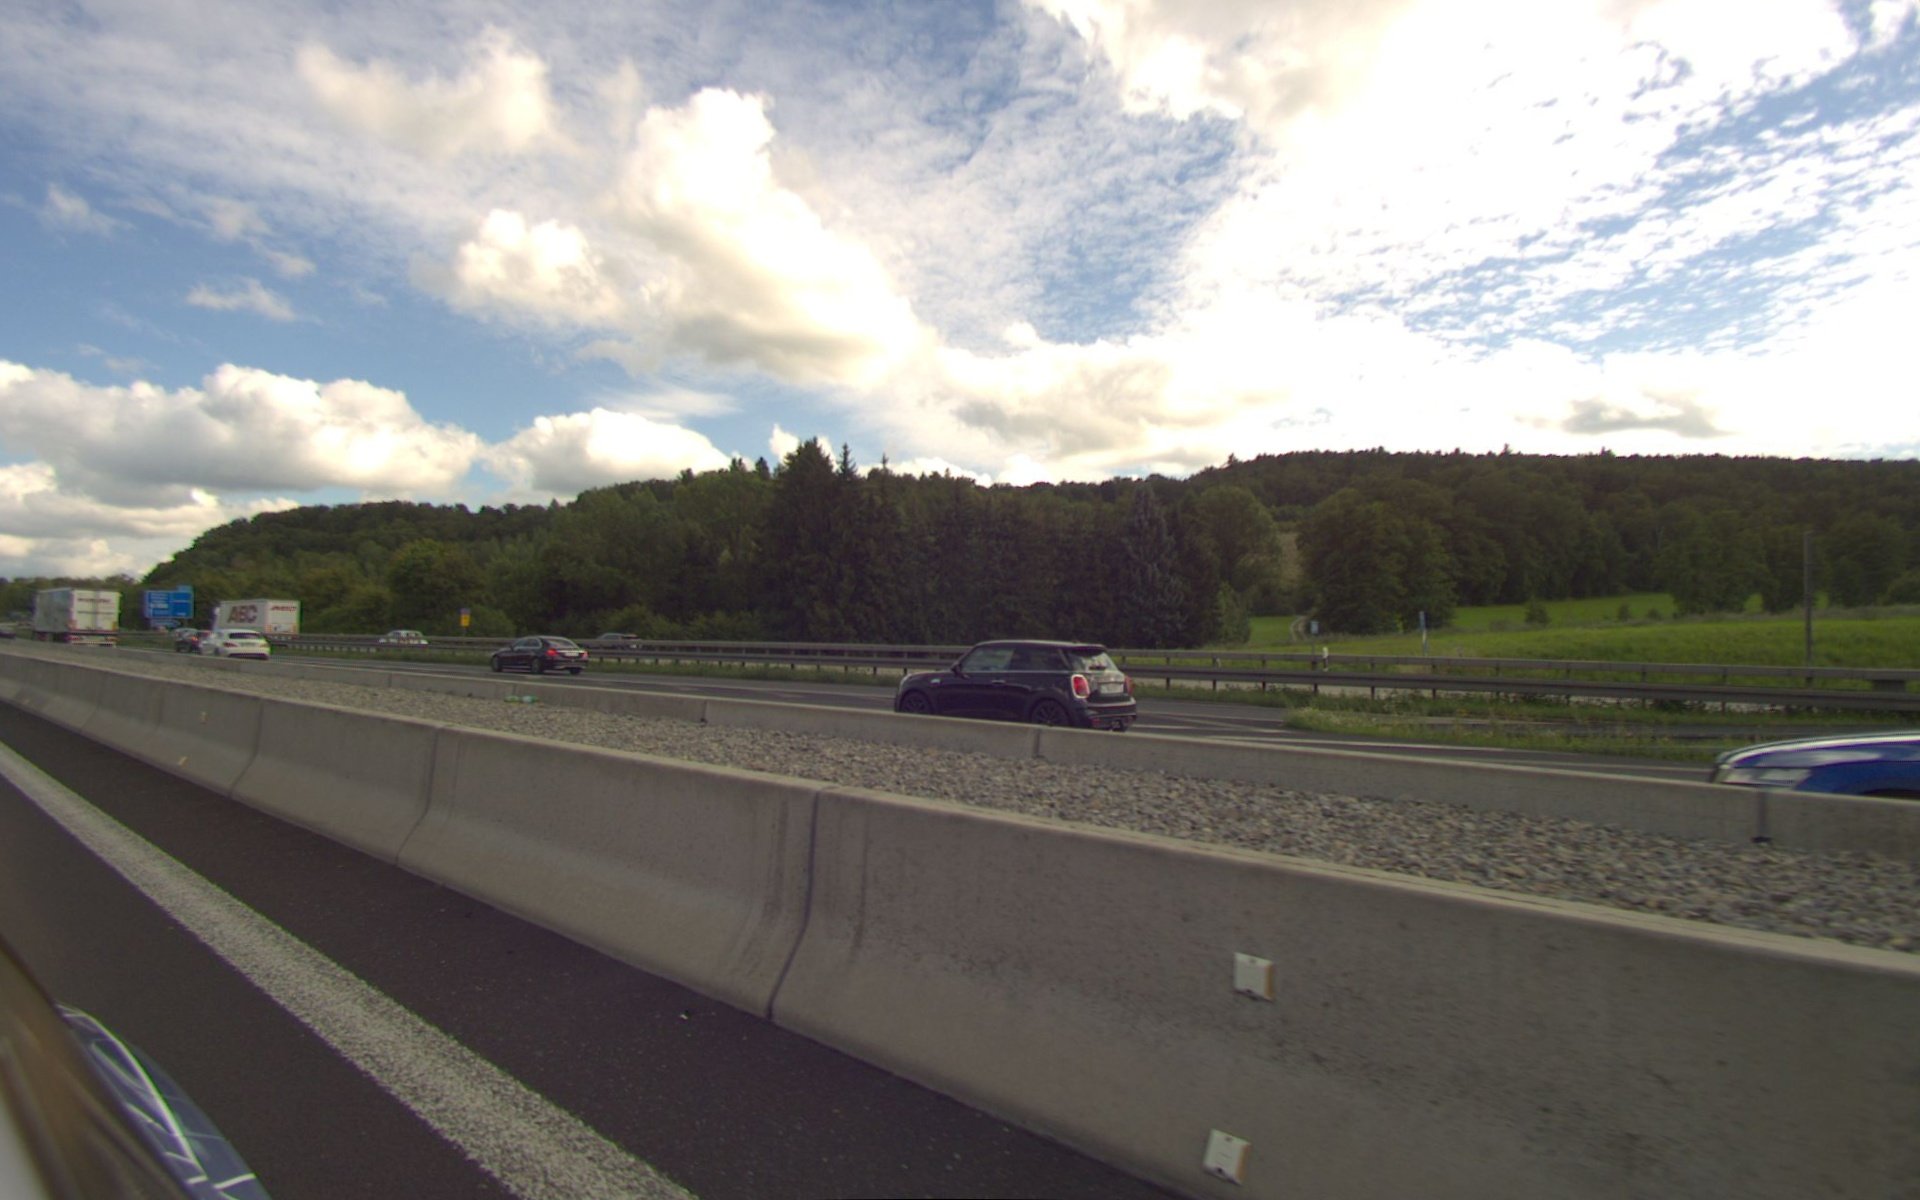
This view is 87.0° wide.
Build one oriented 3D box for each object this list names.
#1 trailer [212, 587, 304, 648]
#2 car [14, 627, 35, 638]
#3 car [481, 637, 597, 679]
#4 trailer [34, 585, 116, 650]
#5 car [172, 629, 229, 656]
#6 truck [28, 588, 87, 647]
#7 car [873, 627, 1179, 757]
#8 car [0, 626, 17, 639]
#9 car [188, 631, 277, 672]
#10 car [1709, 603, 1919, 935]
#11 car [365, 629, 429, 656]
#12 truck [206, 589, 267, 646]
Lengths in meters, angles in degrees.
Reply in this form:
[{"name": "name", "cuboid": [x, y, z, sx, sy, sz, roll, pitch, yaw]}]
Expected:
[{"name": "trailer", "cuboid": [-64.427, 1.660, 92.643, 14.707, 5.200, 3.077, -1, -3, 40]}, {"name": "car", "cuboid": [-142.235, 4.942, 153.901, 4.709, 1.630, 1.971, -1, -3, 44]}, {"name": "car", "cuboid": [-16.081, 2.175, 38.545, 4.998, 1.462, 1.973, -1, -3, 40]}, {"name": "trailer", "cuboid": [-61.124, 1.239, 69.750, 13.277, 4.160, 2.462, -1, -3, 42]}, {"name": "car", "cuboid": [-50.208, 2.801, 66.848, 5.000, 1.630, 1.972, -1, -3, 41]}, {"name": "truck", "cuboid": [-66.076, 1.291, 74.089, 5.296, 4.160, 2.462, -1, -3, 41]}, {"name": "car", "cuboid": [0.866, 1.240, 14.919, 4.300, 1.630, 1.782, -1, -3, 41]}, {"name": "car", "cuboid": [-113.765, 3.871, 120.204, 5.304, 1.506, 1.922, -1, -3, 41]}, {"name": "car", "cuboid": [-31.006, 2.167, 43.084, 5.000, 1.630, 1.972, -1, -3, 41]}, {"name": "car", "cuboid": [6.756, 0.847, 4.463, 5.416, 1.630, 1.907, -1, -3, 41]}, {"name": "car", "cuboid": [-35.242, 2.647, 63.294, 4.706, 1.630, 1.972, -1, -3, 41]}, {"name": "truck", "cuboid": [-69.051, 1.682, 96.560, 6.623, 5.181, 2.995, -1, -3, 39]}]
